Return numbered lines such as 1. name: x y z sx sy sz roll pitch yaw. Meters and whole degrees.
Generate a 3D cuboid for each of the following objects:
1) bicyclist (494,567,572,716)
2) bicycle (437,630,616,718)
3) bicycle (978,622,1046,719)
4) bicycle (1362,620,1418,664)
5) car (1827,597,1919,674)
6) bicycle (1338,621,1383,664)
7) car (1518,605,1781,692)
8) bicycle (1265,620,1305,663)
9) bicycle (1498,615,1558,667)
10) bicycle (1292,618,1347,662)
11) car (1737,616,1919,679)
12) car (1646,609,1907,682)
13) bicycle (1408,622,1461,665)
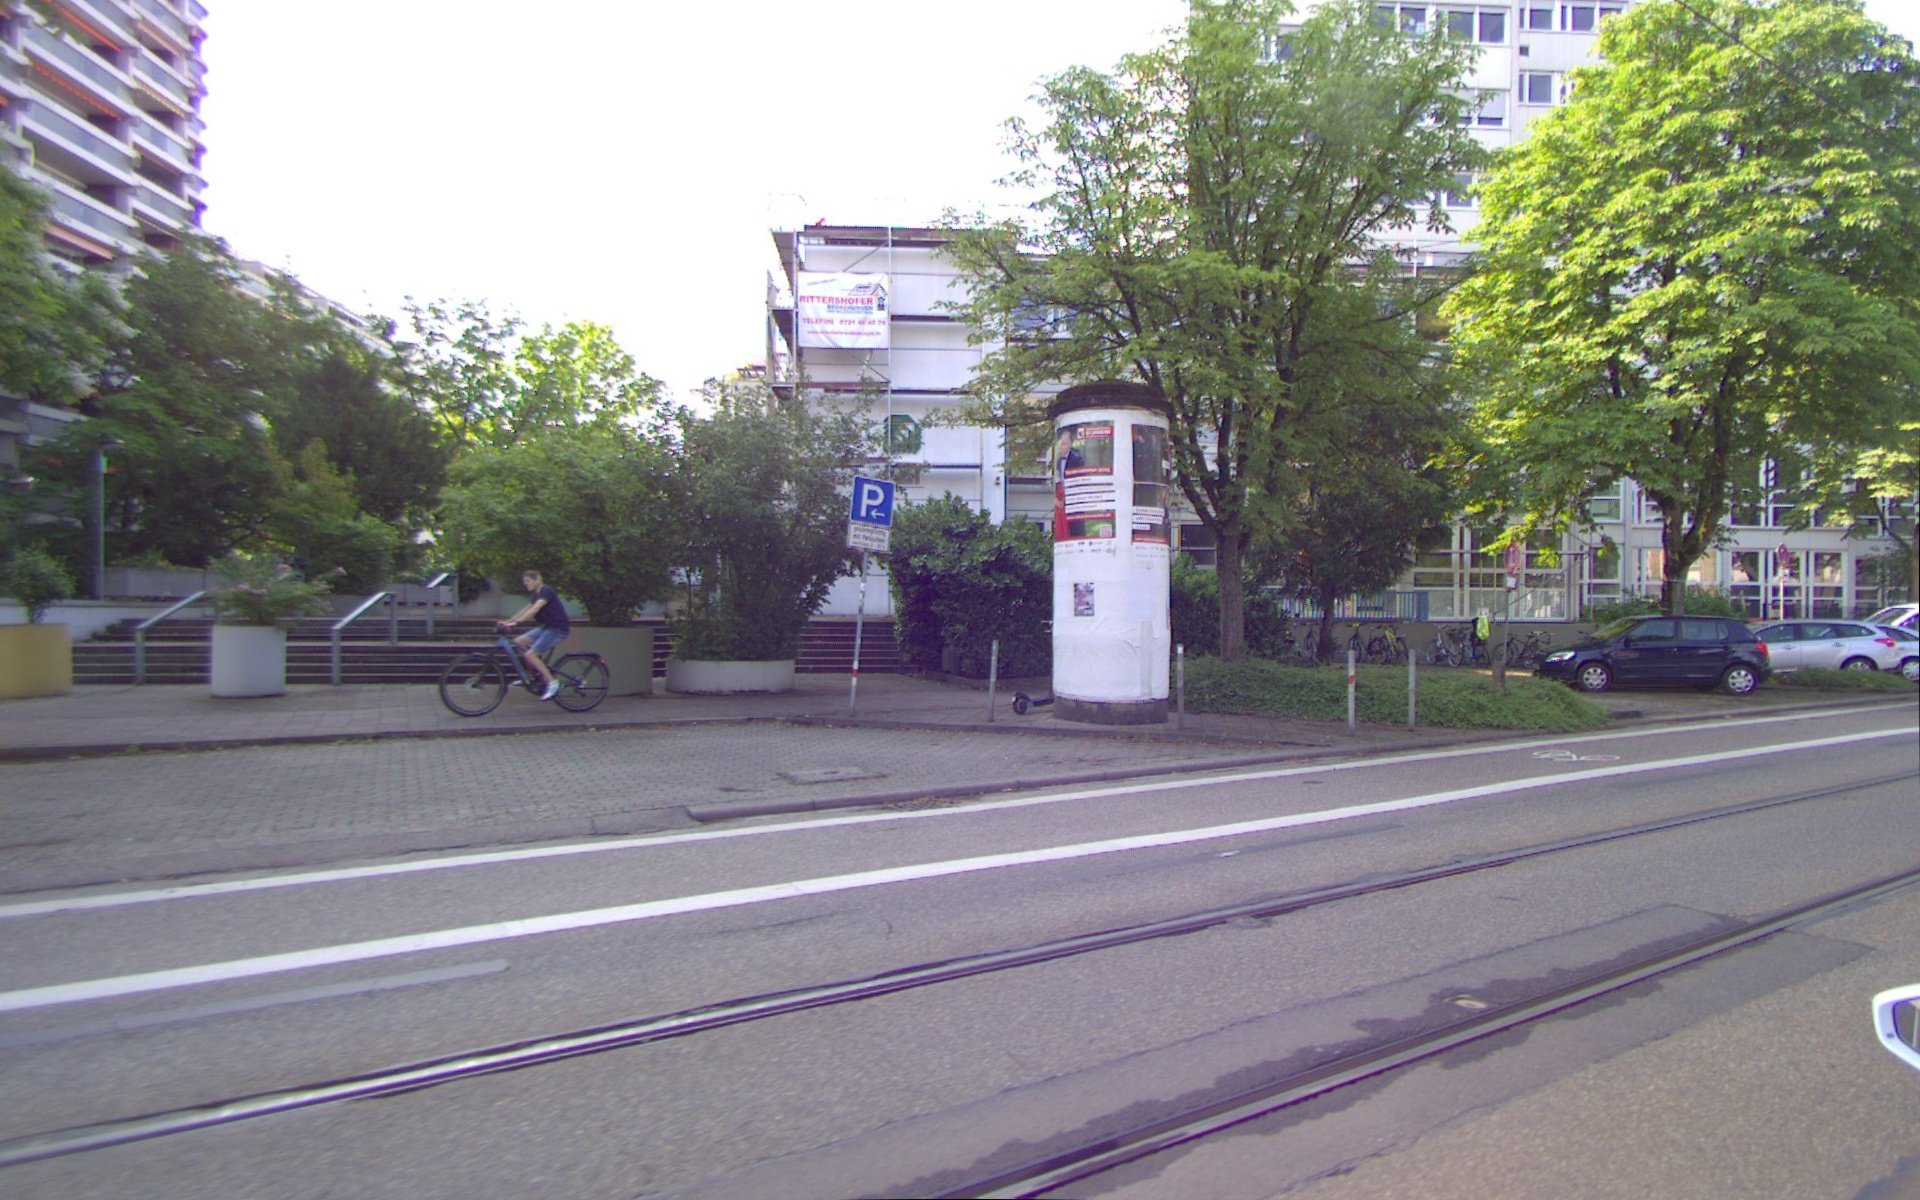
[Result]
1. bicyclist: -5.281 0.497 12.405 0.772 1.763 0.720 2 0 -30
2. bicycle: -5.331 0.896 12.392 1.960 0.993 0.564 2 0 -30
3. bicycle: 0.707 0.894 13.298 0.620 1.170 1.509 2 0 13
4. bicycle: 11.822 1.136 27.673 0.487 1.101 2.055 2 0 -4
5. car: 25.788 0.880 26.031 4.551 1.937 1.933 -2 -2 19
6. bicycle: 10.979 1.148 27.593 0.428 1.084 1.902 2 0 0
7. car: 13.501 0.905 19.947 3.920 1.482 1.760 2 0 18
8. bicycle: 8.890 1.111 27.548 0.428 1.084 1.902 2 0 0
9. bicycle: 15.995 1.130 28.336 0.429 1.382 1.900 2 0 -6
10. bicycle: 9.824 1.083 27.514 0.488 1.101 2.053 2 0 -8
11. car: 21.860 1.177 24.875 3.708 1.495 1.726 -1 -2 17
12. car: 18.834 1.017 23.389 4.371 1.445 1.741 2 -1 13
13. bicycle: 13.147 1.189 27.884 0.487 1.101 2.056 2 0 0
